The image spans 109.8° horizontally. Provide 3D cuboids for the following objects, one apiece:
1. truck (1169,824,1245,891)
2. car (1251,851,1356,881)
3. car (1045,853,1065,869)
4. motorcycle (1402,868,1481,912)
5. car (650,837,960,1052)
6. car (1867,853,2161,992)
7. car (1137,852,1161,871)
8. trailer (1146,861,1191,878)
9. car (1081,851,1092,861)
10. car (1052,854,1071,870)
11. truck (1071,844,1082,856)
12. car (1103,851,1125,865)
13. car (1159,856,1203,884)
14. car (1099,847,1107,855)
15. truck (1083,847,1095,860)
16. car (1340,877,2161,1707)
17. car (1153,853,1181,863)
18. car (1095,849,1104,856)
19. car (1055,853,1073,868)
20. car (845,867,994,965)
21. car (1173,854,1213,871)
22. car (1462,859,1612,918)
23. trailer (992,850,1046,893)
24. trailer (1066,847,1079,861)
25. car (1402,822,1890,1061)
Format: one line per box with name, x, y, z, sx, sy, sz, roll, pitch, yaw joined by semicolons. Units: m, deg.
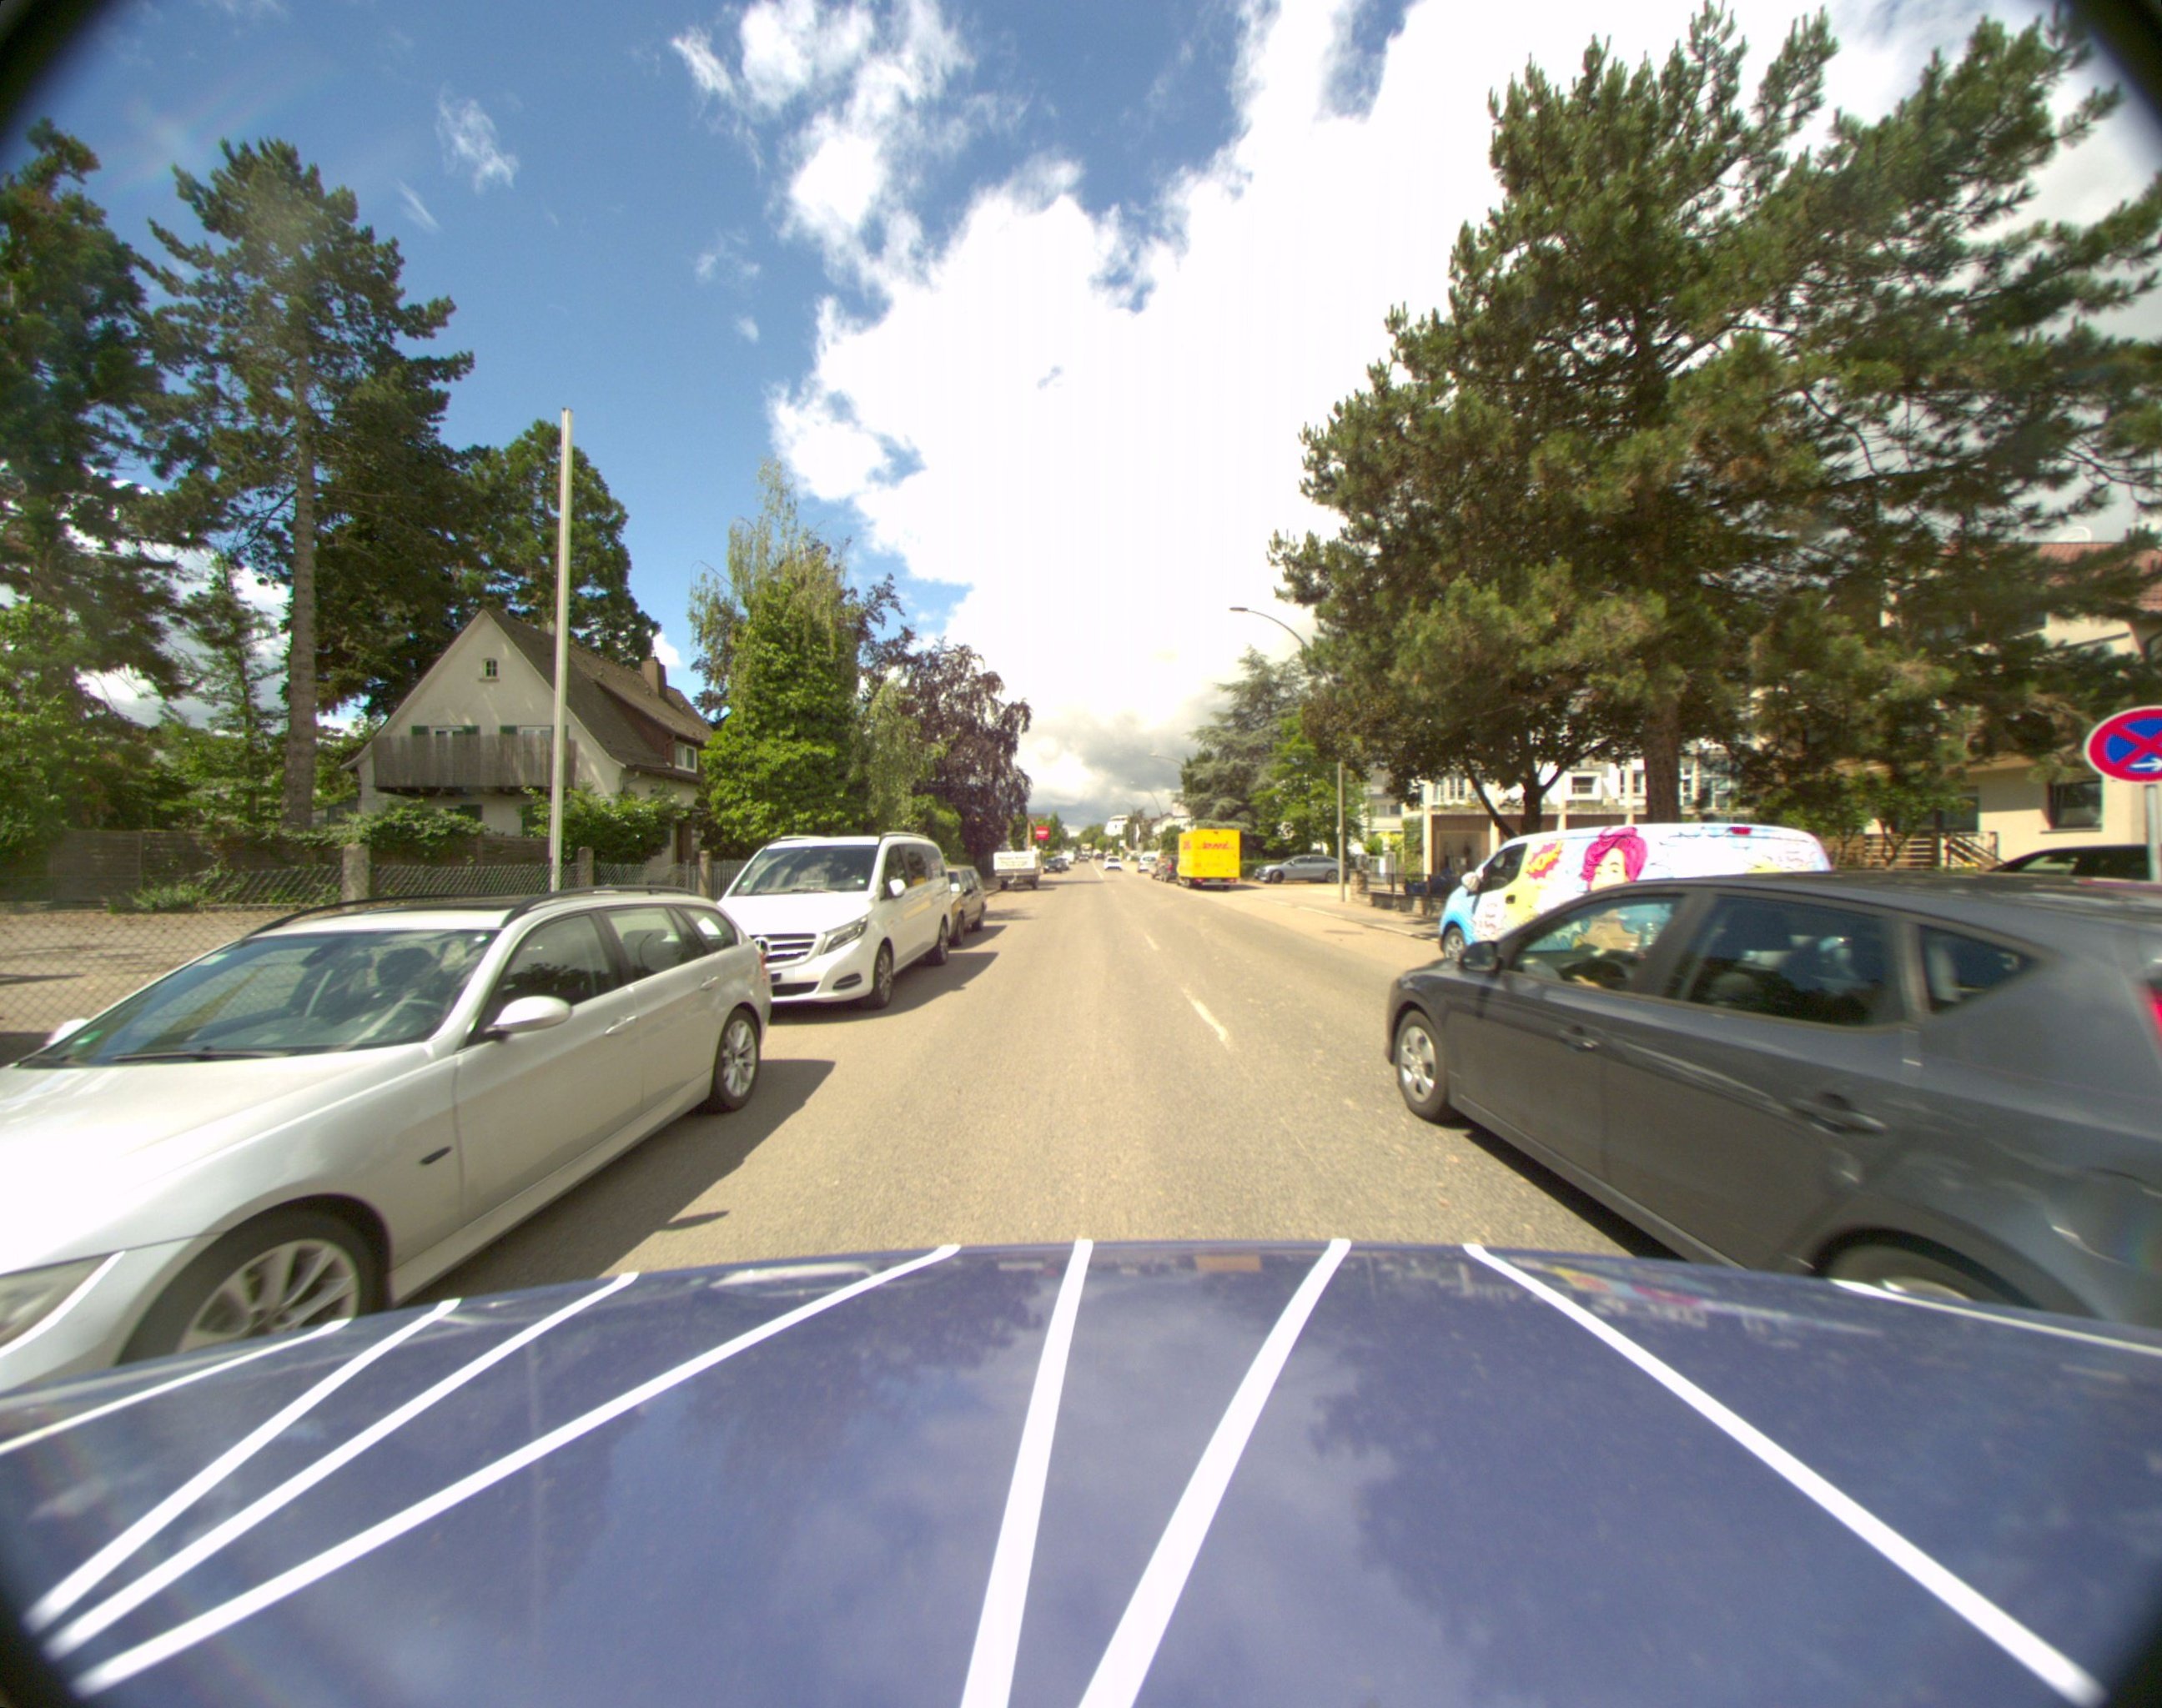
truck;6.175;0.147;38.295;2.329;2.986;7.817;2;0;-1
car;11.840;0.623;40.583;5.021;1.543;1.972;0;1;-1
car;-2.438;0.631;71.876;1.759;1.455;4.000;-1;0;0
motorcycle;9.980;0.991;21.101;1.872;1.159;0.826;0;0;17
car;-2.918;0.815;9.547;1.910;1.874;5.389;-2;0;-1
car;15.317;0.925;11.037;2.085;1.820;5.479;1;0;0
car;6.257;0.687;70.148;1.809;1.666;4.127;2;0;1
trailer;5.928;1.011;52.326;2.324;0.985;7.458;1;0;1
car;1.040;0.374;147.639;1.998;1.802;4.000;-1;0;1
car;-2.118;0.849;83.738;1.811;1.566;4.188;-2;0;1
truck;-1.110;-0.908;181.864;2.411;2.722;6.640;-2;1;1
car;3.424;0.386;79.182;1.987;1.412;3.999;1;0;-2
car;5.991;0.907;46.009;1.998;1.445;4.812;3;0;1
car;4.960;-0.724;171.256;1.859;1.686;4.001;0;0;4
truck;2.095;-0.133;202.351;2.880;3.290;8.606;-2;1;1
car;2.699;0.924;2.905;1.905;1.509;4.318;1;0;0
car;13.197;0.551;116.686;4.046;1.485;1.675;1;0;0
car;5.329;-0.487;221.382;2.384;2.002;6.383;1;0;-1
car;-1.916;0.791;88.527;1.835;1.608;4.000;-3;0;2
car;-2.952;1.064;15.044;1.759;1.442;4.994;-2;0;1
car;11.876;0.865;80.927;3.997;1.739;2.000;1;0;1
car;13.125;0.924;22.212;1.772;1.534;4.086;0;0;-3
trailer;-2.831;0.757;35.674;1.998;1.812;4.764;-2;0;1
trailer;-1.406;0.007;130.246;2.044;2.214;5.079;1;0;1
car;5.625;0.734;8.622;1.838;1.842;4.896;3;0;1
